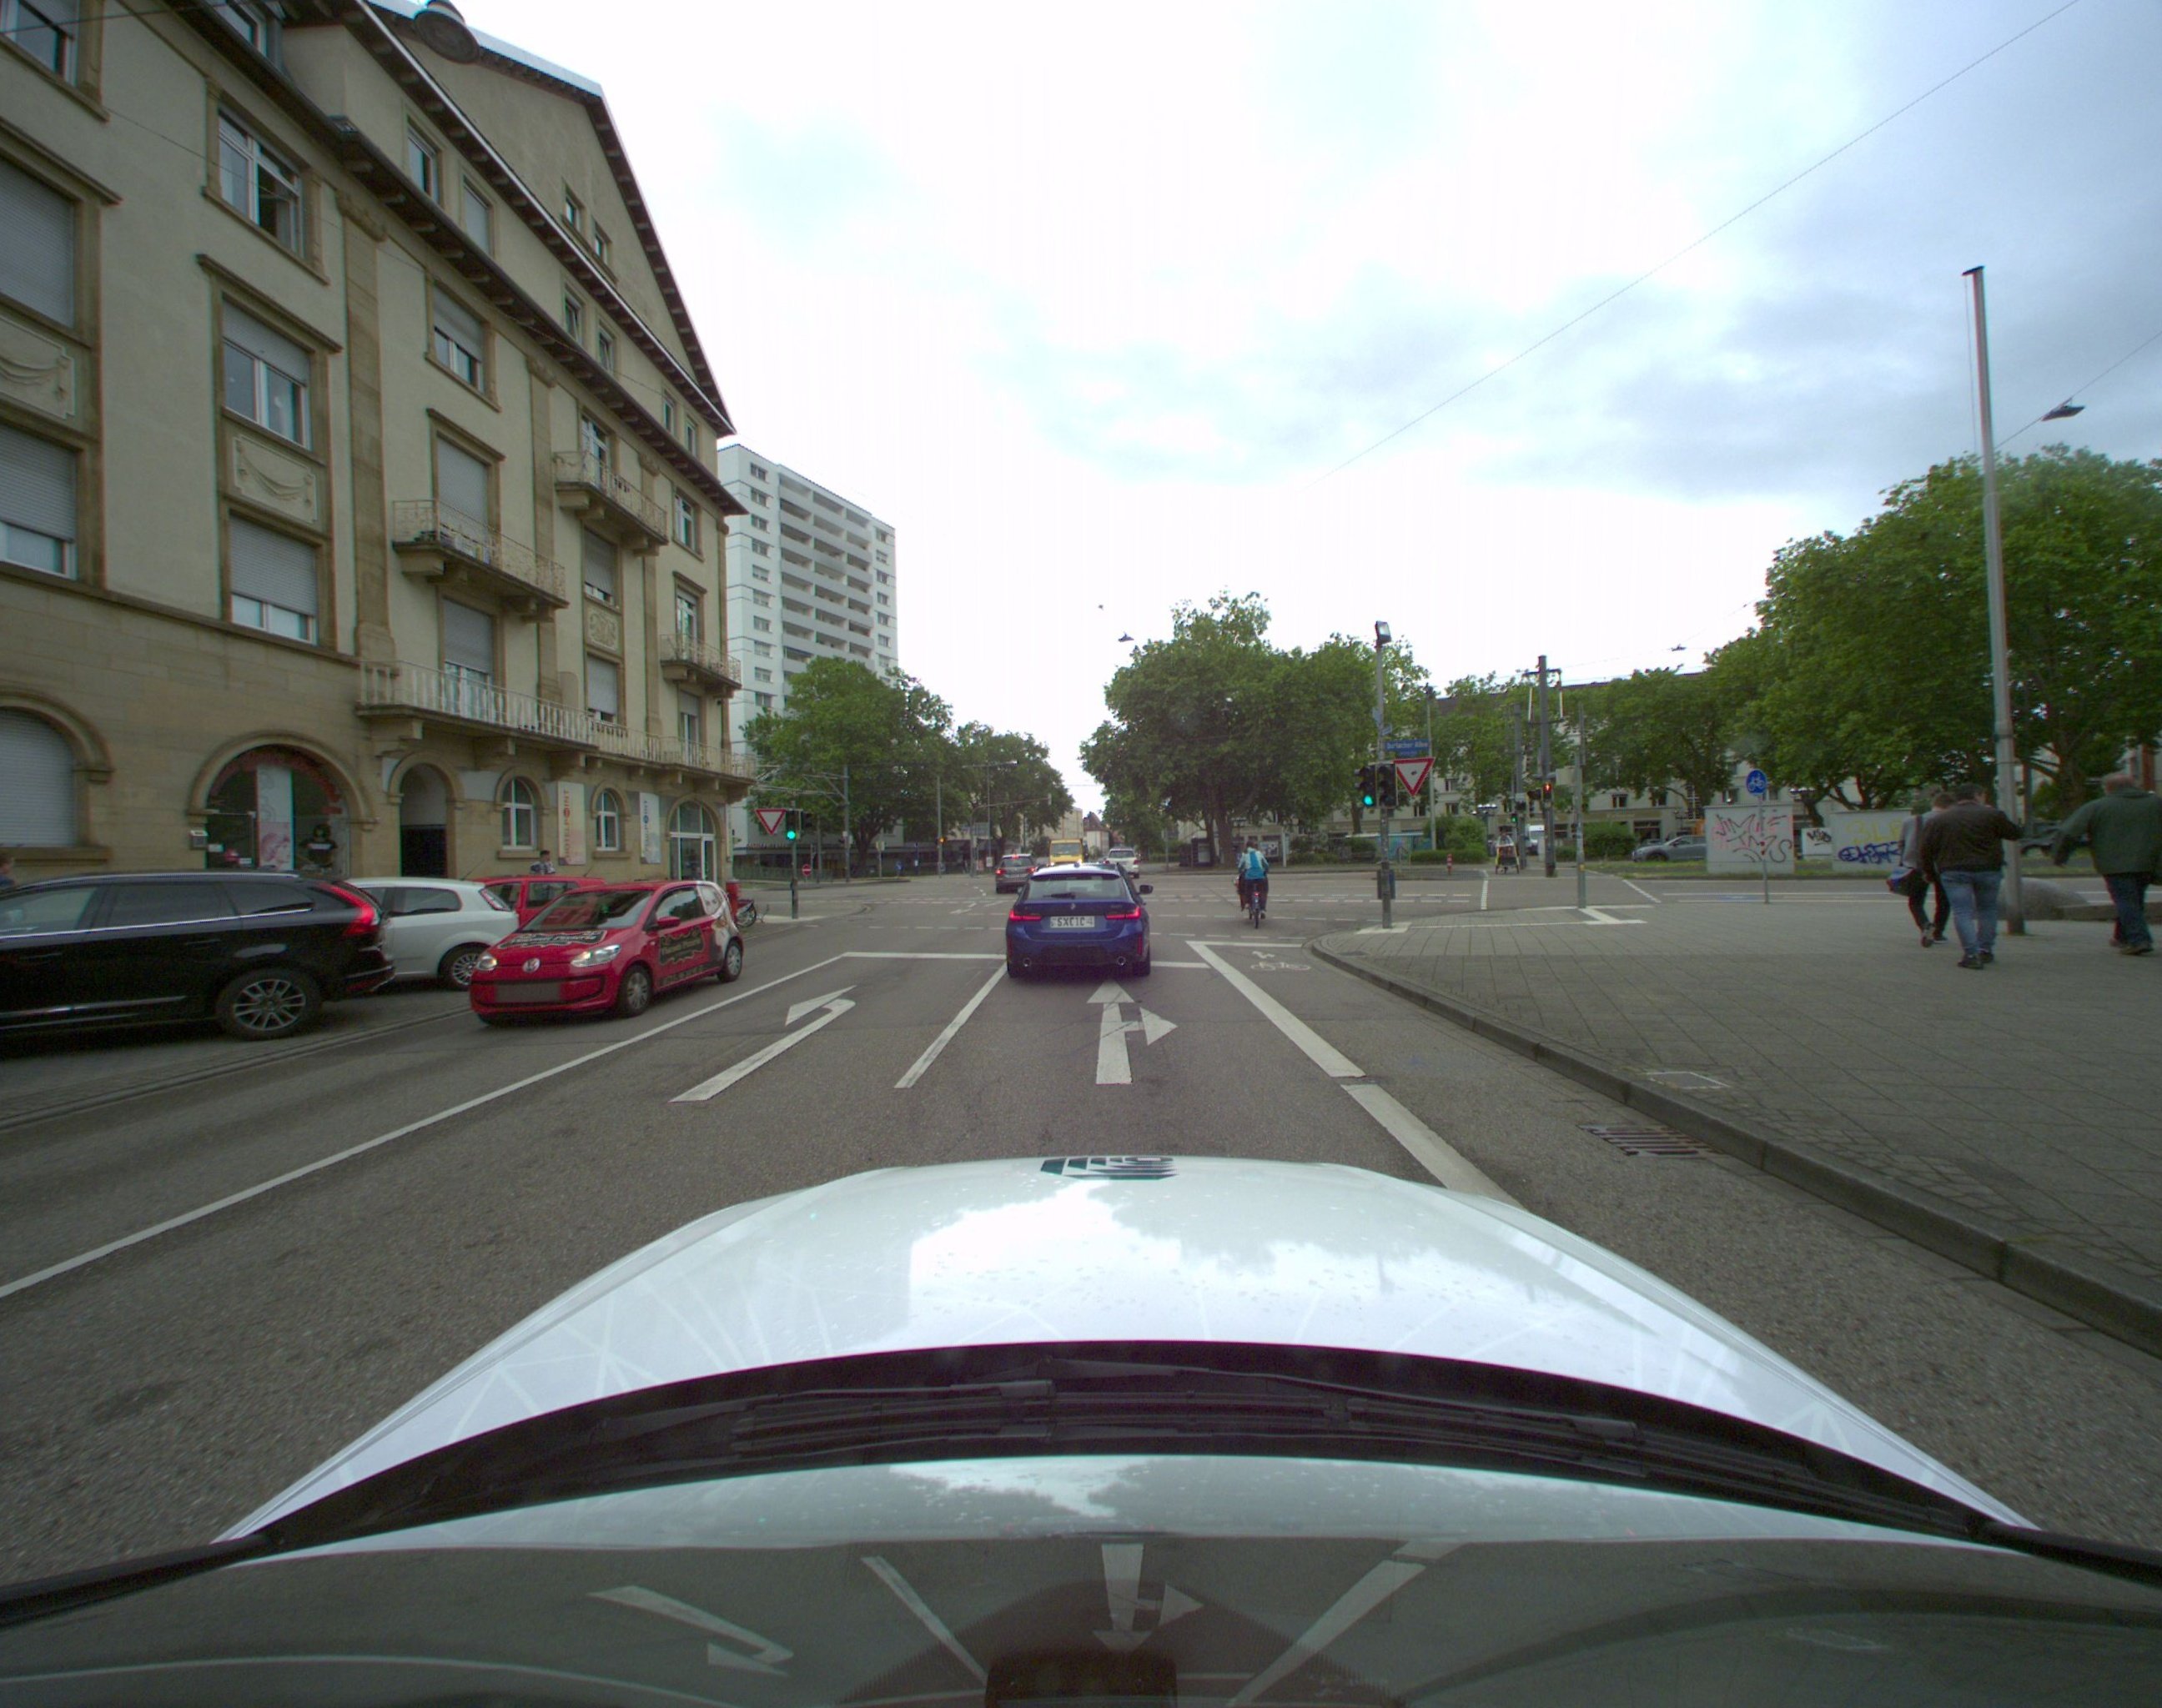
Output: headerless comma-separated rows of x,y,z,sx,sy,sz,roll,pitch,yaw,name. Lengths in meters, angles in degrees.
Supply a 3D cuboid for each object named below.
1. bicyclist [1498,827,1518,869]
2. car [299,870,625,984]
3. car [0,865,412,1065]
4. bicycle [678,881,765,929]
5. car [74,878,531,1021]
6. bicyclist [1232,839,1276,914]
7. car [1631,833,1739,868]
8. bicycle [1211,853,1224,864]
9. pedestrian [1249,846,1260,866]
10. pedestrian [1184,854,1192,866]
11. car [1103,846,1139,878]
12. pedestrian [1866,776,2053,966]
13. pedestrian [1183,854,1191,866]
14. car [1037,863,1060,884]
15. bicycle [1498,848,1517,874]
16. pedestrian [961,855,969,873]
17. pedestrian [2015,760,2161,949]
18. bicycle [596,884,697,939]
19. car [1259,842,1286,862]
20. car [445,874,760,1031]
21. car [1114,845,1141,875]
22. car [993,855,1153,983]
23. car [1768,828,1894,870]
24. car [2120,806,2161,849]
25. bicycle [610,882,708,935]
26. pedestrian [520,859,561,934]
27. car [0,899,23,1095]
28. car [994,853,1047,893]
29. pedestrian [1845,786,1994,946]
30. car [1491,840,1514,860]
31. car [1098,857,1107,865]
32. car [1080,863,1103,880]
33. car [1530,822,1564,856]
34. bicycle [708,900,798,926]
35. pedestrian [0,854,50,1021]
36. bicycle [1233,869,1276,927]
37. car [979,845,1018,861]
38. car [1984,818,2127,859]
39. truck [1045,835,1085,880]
17.226,-0.248,32.867,0.608,1.654,0.758,-2,0,23,bicyclist
-9.924,1.050,13.293,1.663,1.472,4.024,0,0,43,car
-9.367,0.989,8.024,4.248,1.652,1.711,-1,-1,-41,car
-8.831,1.237,20.020,1.880,1.035,0.442,4,0,0,bicycle
-9.655,1.067,10.557,4.021,1.472,1.546,1,-2,-41,car
3.655,0.461,17.247,0.683,1.517,1.059,-2,0,2,bicyclist
29.469,-0.156,39.895,3.940,1.561,1.697,-2,-1,25,car
15.313,0.544,91.236,0.771,1.168,2.347,-2,-1,27,bicycle
15.594,0.198,73.259,0.781,1.743,0.925,-2,-1,1,pedestrian
11.838,0.699,90.043,0.850,1.314,0.763,-2,-1,2,pedestrian
2.133,0.415,43.967,1.808,1.592,4.002,-2,0,2,car
8.494,0.156,7.927,0.672,1.685,0.970,-4,0,2,pedestrian
11.860,0.652,90.990,0.814,1.372,0.763,-2,-1,2,pedestrian
-3.314,1.969,82.839,1.913,2.013,3.938,-2,0,2,car
17.147,0.258,32.762,0.546,0.995,2.073,-2,0,24,bicycle
-11.804,0.995,83.087,0.570,1.785,0.622,-2,0,10,pedestrian
10.320,-0.017,8.116,0.801,1.758,0.969,-4,0,2,pedestrian
-9.413,1.235,17.654,1.880,1.035,0.442,4,0,0,bicycle
22.230,-0.239,94.399,2.154,2.200,4.024,-2,0,26,car
-5.547,1.041,10.007,1.643,1.447,3.513,-2,0,2,car
3.323,0.402,59.120,1.808,2.005,4.002,-2,0,2,car
0.051,0.758,11.582,1.807,1.405,4.324,-2,0,4,car
34.424,-0.214,37.516,3.901,1.711,1.697,-2,-1,25,car
55.640,-1.390,40.135,5.025,2.096,2.004,-2,-1,25,car
-9.408,1.219,18.191,1.880,1.035,0.442,4,0,0,bicycle
-13.162,1.030,19.834,0.564,1.785,0.551,-2,0,3,pedestrian
-9.681,1.127,4.699,4.017,1.494,1.713,-1,-1,-36,car
-2.482,0.744,34.242,1.726,1.525,4.002,-2,0,2,car
9.398,0.128,9.178,0.629,1.673,0.971,-4,0,9,pedestrian
35.066,-0.335,67.736,1.649,1.515,3.962,-2,0,28,car
4.608,1.525,176.311,1.846,1.453,4.170,-2,0,2,car
0.954,1.541,73.298,1.801,1.427,4.320,-2,0,3,car
38.515,-1.237,67.476,2.214,2.639,5.480,-2,0,28,car
-8.456,1.524,21.049,1.880,0.445,1.029,4,1,0,bicycle
-12.972,0.985,9.709,0.616,1.958,0.551,-2,0,3,pedestrian
3.691,0.907,17.463,0.492,1.098,2.140,-2,0,2,bicycle
-9.448,-0.075,93.118,4.011,1.706,1.981,-1,-1,-29,car
40.848,-0.632,34.254,3.424,1.561,1.697,-2,-1,25,car
-0.859,0.179,47.609,2.068,2.408,5.462,-3,0,0,truck
